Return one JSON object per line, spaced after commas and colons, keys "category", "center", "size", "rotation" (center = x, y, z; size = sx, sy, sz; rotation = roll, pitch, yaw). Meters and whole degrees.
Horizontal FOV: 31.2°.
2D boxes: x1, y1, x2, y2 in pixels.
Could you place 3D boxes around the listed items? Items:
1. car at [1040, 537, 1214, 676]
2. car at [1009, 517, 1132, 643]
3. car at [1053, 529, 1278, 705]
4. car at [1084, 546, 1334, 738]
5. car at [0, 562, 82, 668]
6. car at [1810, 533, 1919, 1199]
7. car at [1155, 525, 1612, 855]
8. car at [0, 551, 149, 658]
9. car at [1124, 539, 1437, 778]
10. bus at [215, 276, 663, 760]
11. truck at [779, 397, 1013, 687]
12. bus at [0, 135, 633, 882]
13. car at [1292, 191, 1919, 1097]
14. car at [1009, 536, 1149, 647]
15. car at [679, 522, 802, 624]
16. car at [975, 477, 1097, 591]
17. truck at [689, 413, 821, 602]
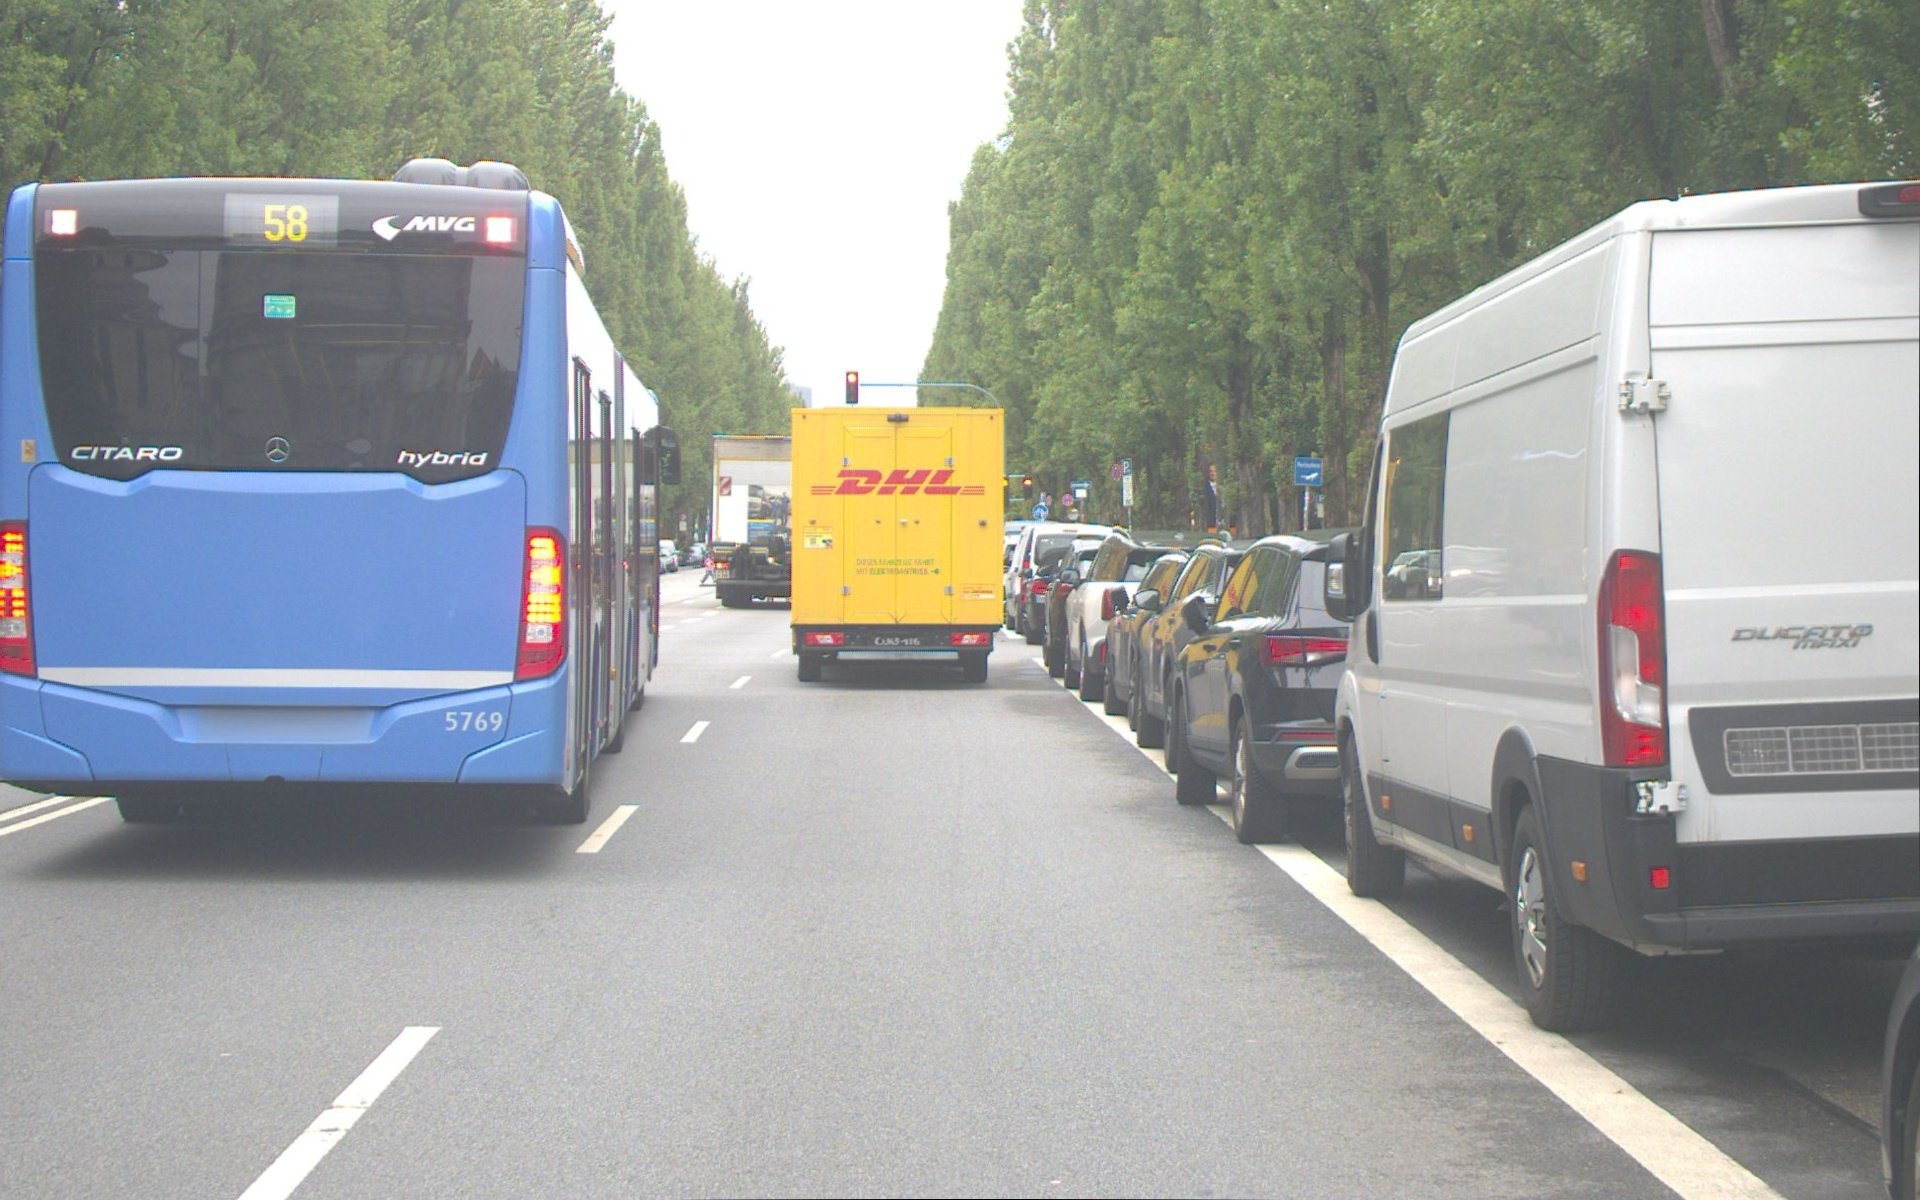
{"category": "car", "center": [1.852, 0.032, 39.236], "size": [1.725, 1.490, 4.324], "rotation": [0, 1, -1]}
{"category": "car", "center": [1.751, -0.356, 55.869], "size": [1.806, 1.969, 4.237], "rotation": [0, 1, -1]}
{"category": "car", "center": [1.941, 0.115, 33.602], "size": [1.780, 1.576, 4.147], "rotation": [1, 1, -2]}
{"category": "car", "center": [2.015, 0.296, 28.867], "size": [1.633, 1.441, 4.149], "rotation": [2, 1, -2]}
{"category": "car", "center": [-13.712, 0.211, 48.554], "size": [1.685, 1.408, 4.005], "rotation": [-2, 1, -2]}
{"category": "car", "center": [2.727, 0.650, 5.177], "size": [1.754, 1.445, 4.001], "rotation": [2, 1, -2]}
{"category": "car", "center": [2.155, 0.397, 18.625], "size": [1.820, 1.585, 4.223], "rotation": [0, 1, -2]}
{"category": "car", "center": [-13.718, 0.039, 53.247], "size": [1.742, 1.513, 4.119], "rotation": [-3, 1, -7]}
{"category": "car", "center": [2.133, 0.338, 23.858], "size": [1.651, 1.498, 4.114], "rotation": [0, 1, -2]}
{"category": "bus", "center": [-3.980, -0.659, 28.407], "size": [2.871, 3.292, 9.791], "rotation": [-1, 1, -4]}
{"category": "truck", "center": [-0.756, -0.652, 38.129], "size": [2.327, 2.888, 7.334], "rotation": [0, 1, -2]}
{"category": "bus", "center": [-3.388, -0.489, 19.332], "size": [2.855, 3.202, 9.061], "rotation": [0, 1, -4]}
{"category": "car", "center": [2.646, 0.063, 12.542], "size": [2.074, 2.470, 6.284], "rotation": [0, 1, -2]}
{"category": "car", "center": [1.699, -0.156, 50.355], "size": [1.863, 1.546, 4.000], "rotation": [0, 1, -1]}
{"category": "car", "center": [-4.054, -0.537, 64.027], "size": [2.035, 1.795, 4.507], "rotation": [-1, 1, -1]}
{"category": "car", "center": [1.376, -1.250, 64.307], "size": [2.052, 2.007, 5.693], "rotation": [-1, 1, -1]}
{"category": "truck", "center": [-4.571, -2.039, 76.860], "size": [2.715, 3.951, 9.219], "rotation": [-1, 1, -3]}
